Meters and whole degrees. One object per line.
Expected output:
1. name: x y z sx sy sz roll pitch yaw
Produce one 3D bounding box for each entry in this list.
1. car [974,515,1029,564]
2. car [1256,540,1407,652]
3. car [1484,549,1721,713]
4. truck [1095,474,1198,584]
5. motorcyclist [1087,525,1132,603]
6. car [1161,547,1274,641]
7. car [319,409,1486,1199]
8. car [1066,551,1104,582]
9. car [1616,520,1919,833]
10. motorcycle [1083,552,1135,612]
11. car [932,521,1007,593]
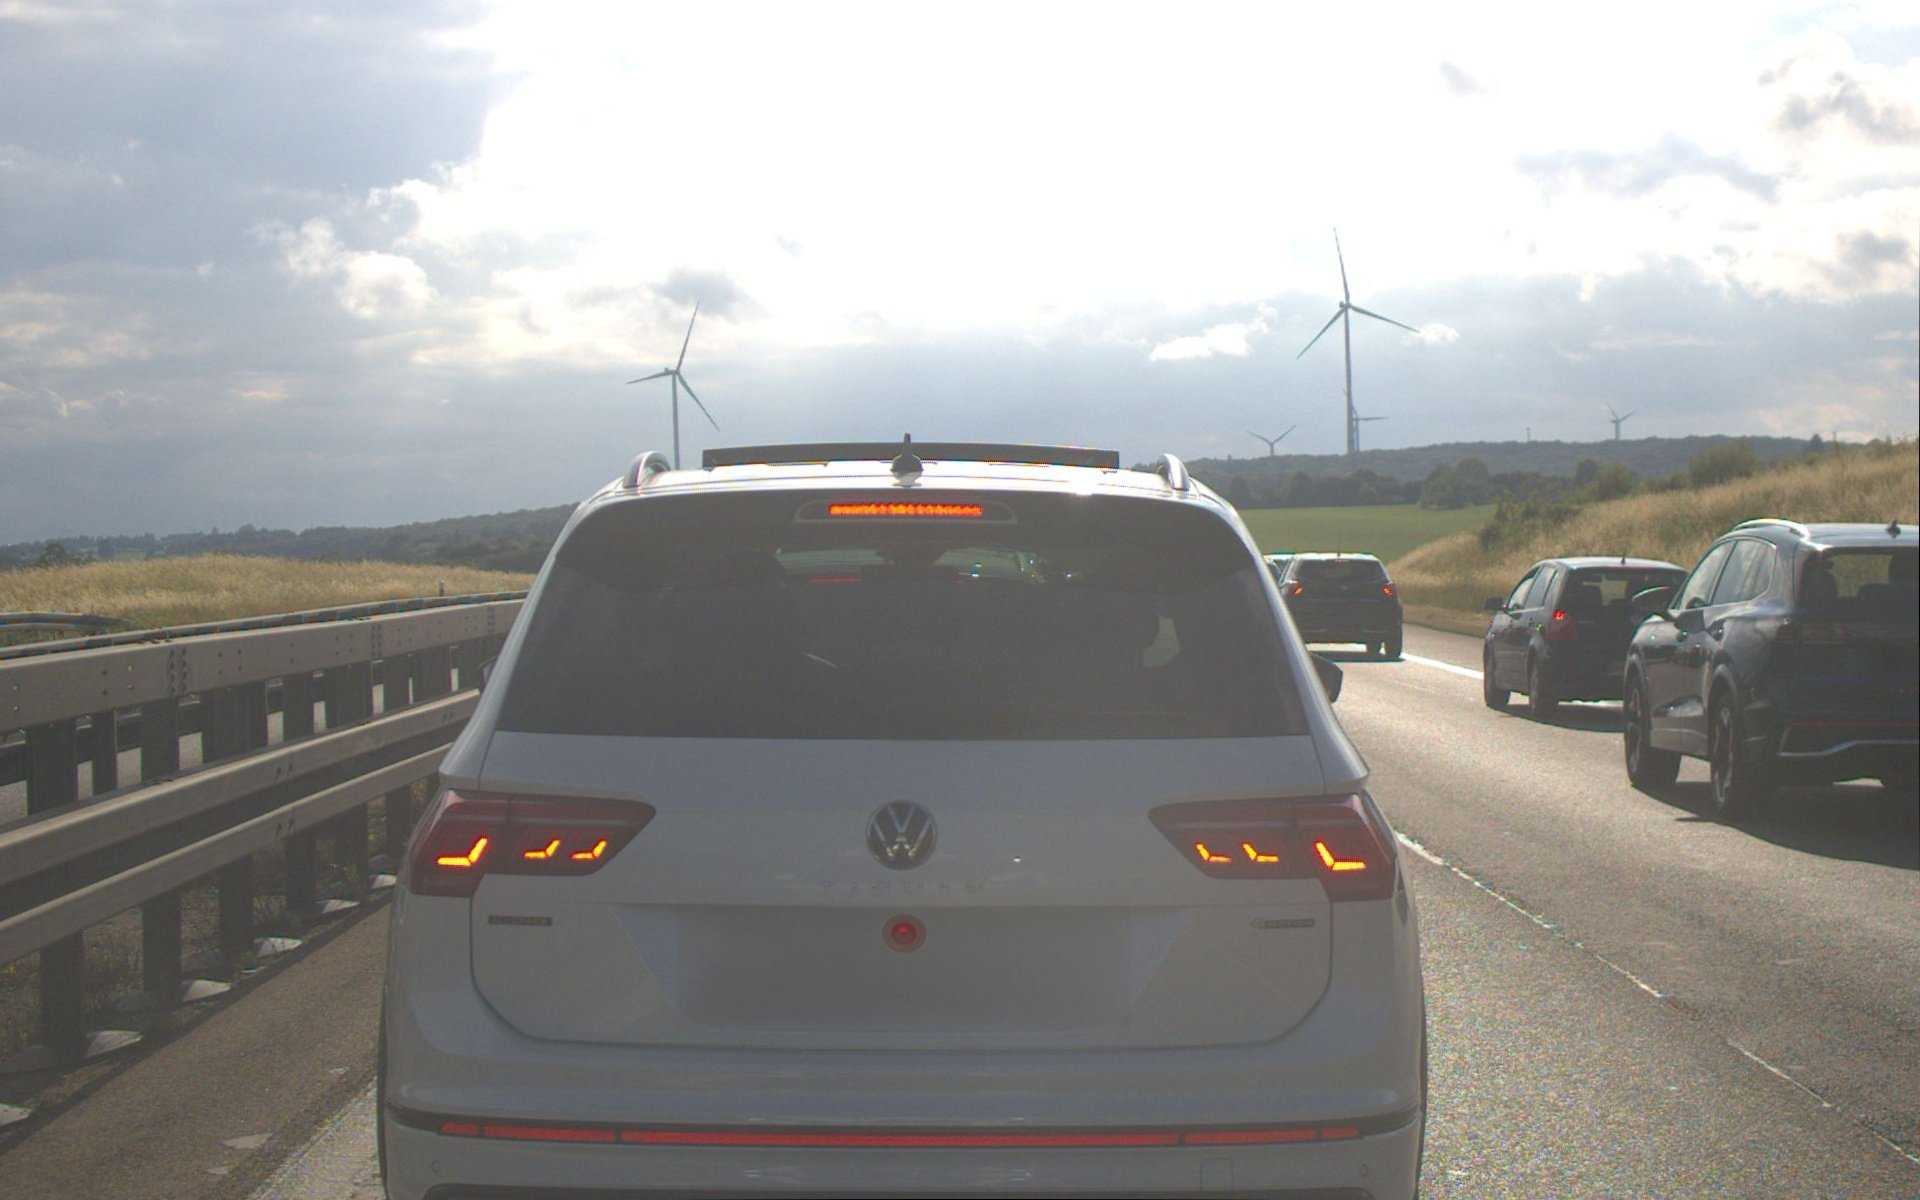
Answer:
1. car: 1.321 -1.931 110.490 1.704 1.540 4.000 0 1 -1
2. car: 5.292 -0.083 49.391 1.704 1.540 4.000 0 1 -1
3. car: 5.815 0.246 31.464 1.606 1.415 3.672 0 1 2
4. truck: 6.285 -2.456 117.536 3.184 3.581 11.130 0 1 1
5. motorcyclist: 2.994 -0.720 69.090 0.849 1.554 0.934 0 1 -1
6. car: 4.626 -0.134 62.138 1.704 1.644 4.000 0 1 -1
7. car: -0.105 0.521 7.218 1.770 1.670 4.000 0 1 -1
8. car: 6.329 -1.694 174.212 1.704 1.540 4.000 0 1 -1
9. car: 5.063 0.385 19.877 1.821 1.596 4.235 1 1 2
10. motorcycle: 2.992 -0.365 69.139 0.895 1.186 2.257 0 1 -1
11. car: 0.203 -1.007 80.499 1.704 1.644 4.000 0 1 -1
